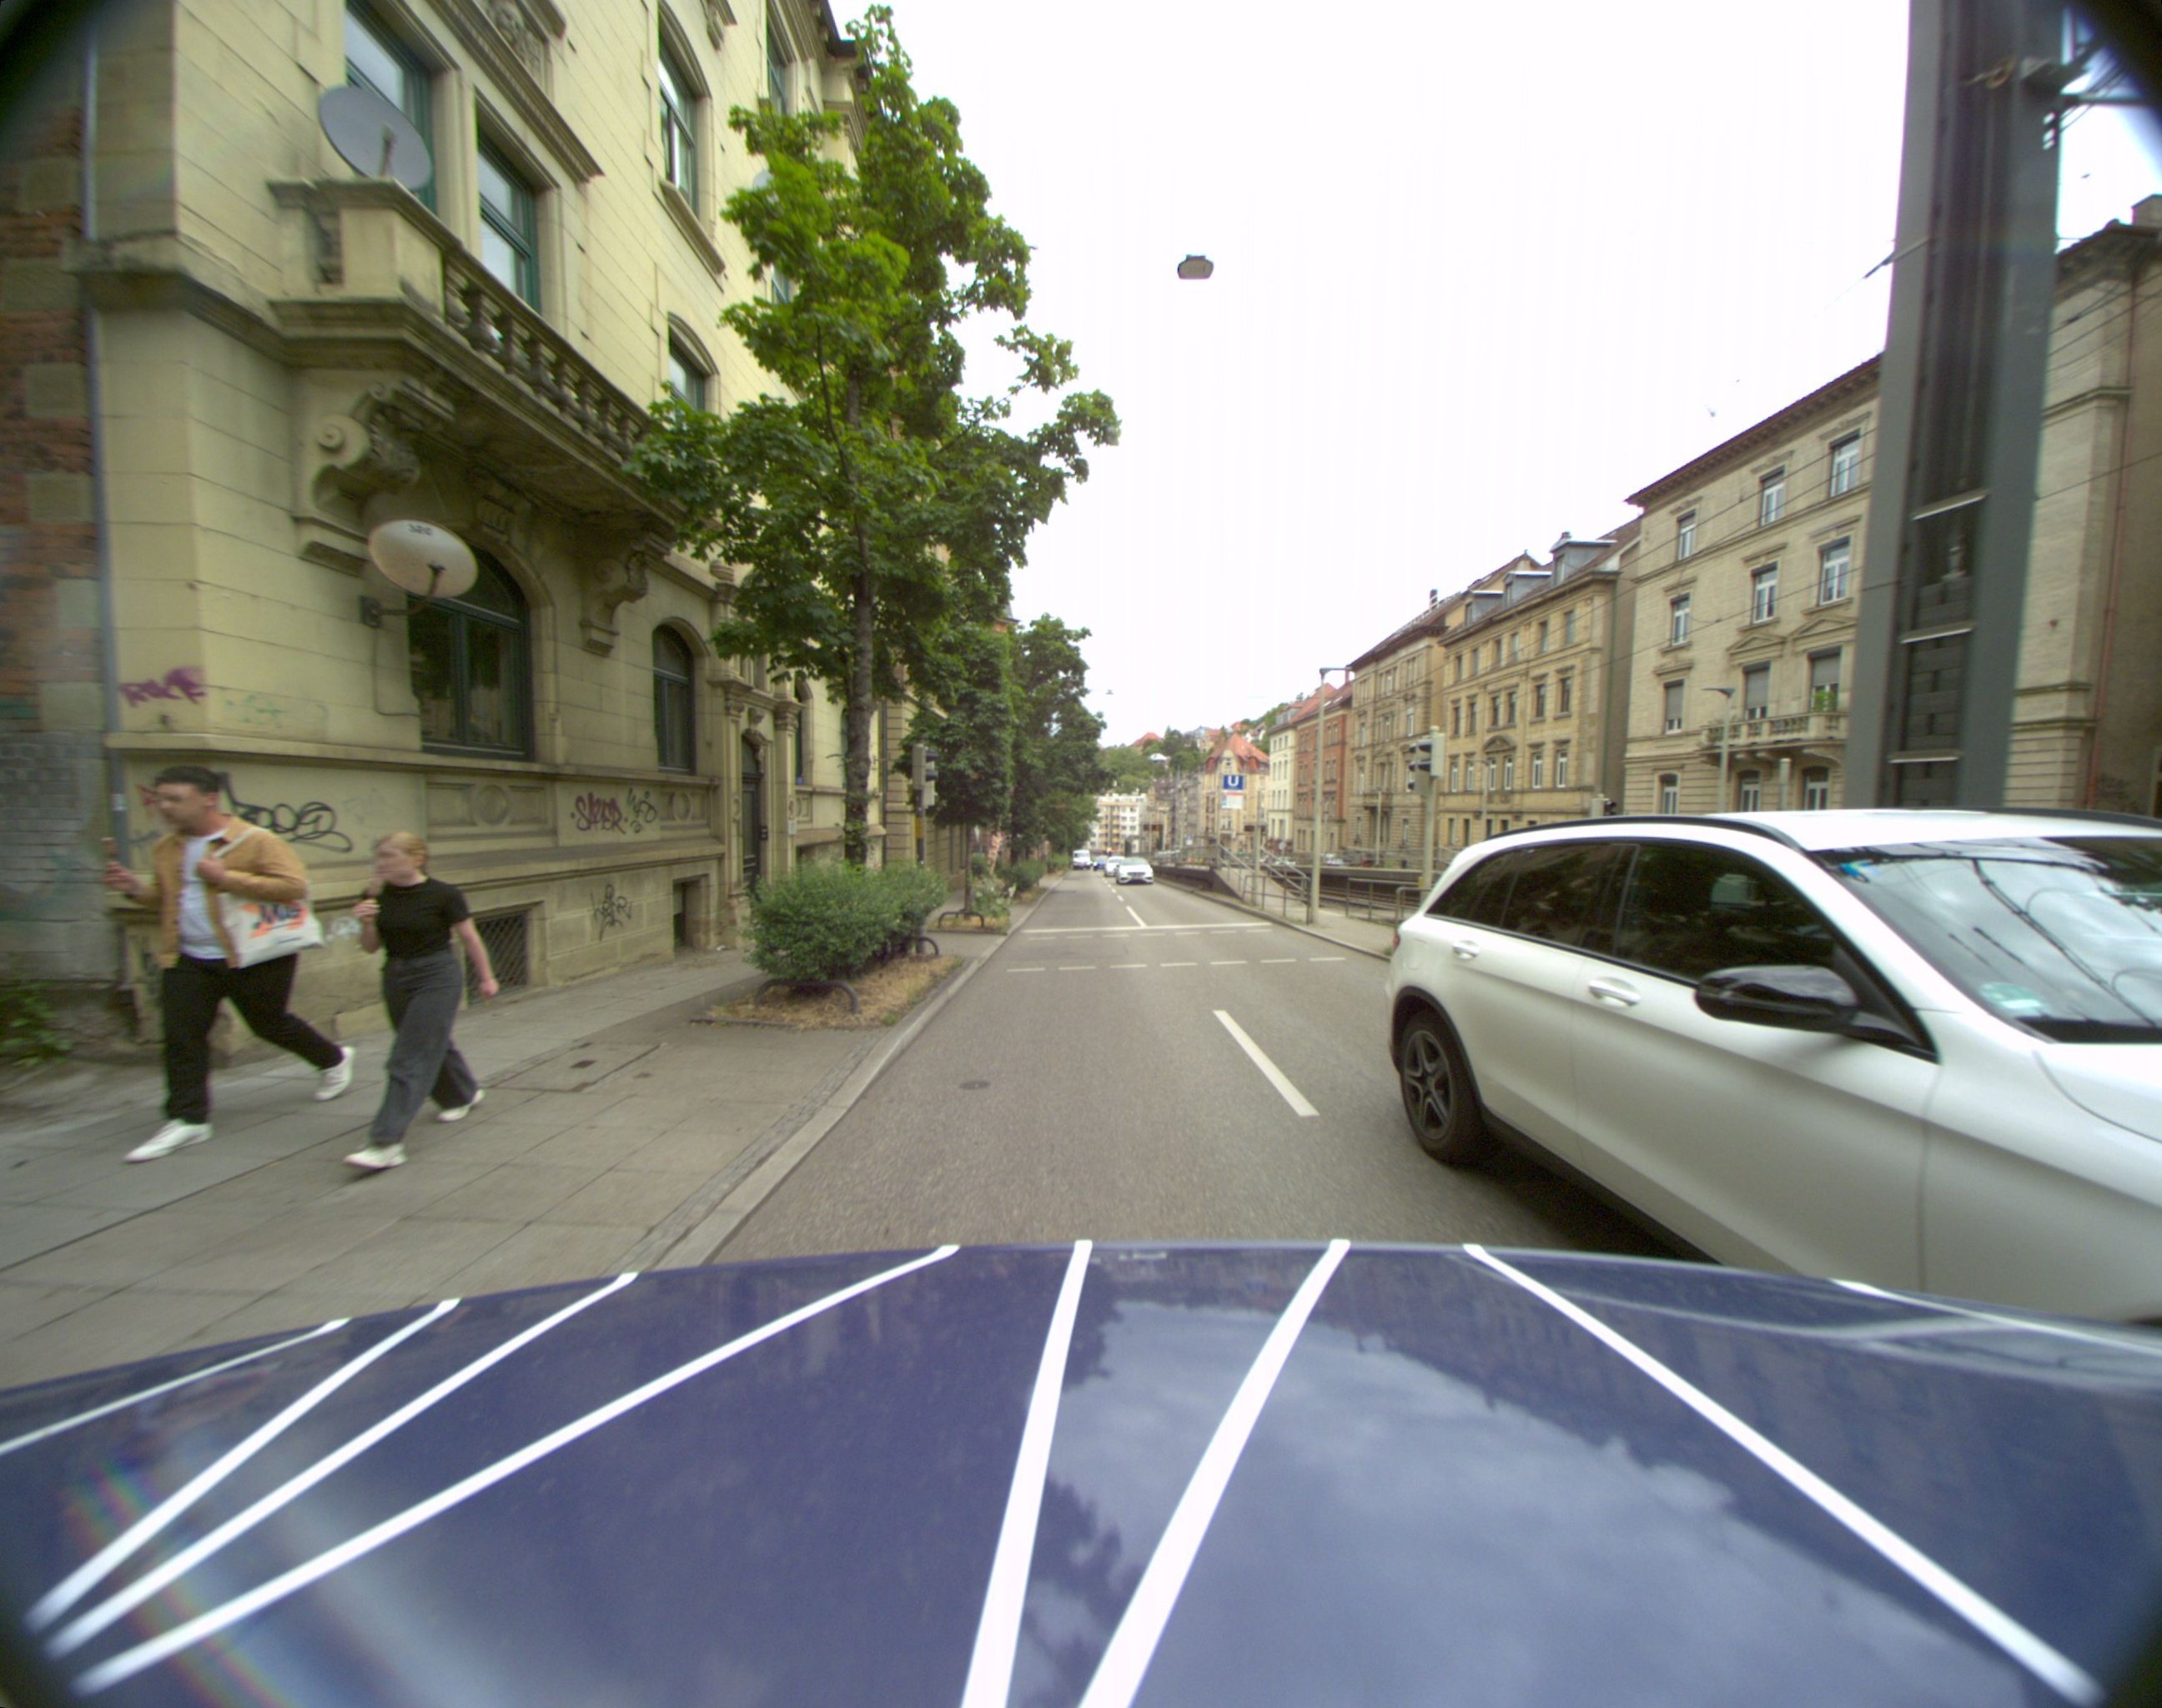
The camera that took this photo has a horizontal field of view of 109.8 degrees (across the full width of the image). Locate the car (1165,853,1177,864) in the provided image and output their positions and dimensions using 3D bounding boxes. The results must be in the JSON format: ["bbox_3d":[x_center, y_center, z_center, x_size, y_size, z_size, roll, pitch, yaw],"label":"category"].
[{"bbox_3d":[18.841,0.909,159.442,1.998,2.291,5.455,0,0,0],"label":"car"}]

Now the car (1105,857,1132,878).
[{"bbox_3d":[2.718,0.985,56.324,1.806,1.542,4.000,-1,0,0],"label":"car"}]

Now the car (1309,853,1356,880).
[{"bbox_3d":[16.713,0.811,50.750,1.713,1.725,4.576,0,0,1],"label":"car"}]

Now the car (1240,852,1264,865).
[{"bbox_3d":[19.798,0.530,87.923,1.883,1.519,4.000,1,0,0],"label":"car"}]

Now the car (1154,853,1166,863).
[{"bbox_3d":[16.213,0.822,156.401,1.999,1.883,4.414,0,0,-1],"label":"car"}]

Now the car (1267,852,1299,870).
[{"bbox_3d":[19.310,0.658,72.705,1.940,1.670,4.000,1,0,0],"label":"car"}]

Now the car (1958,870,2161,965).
[{"bbox_3d":[17.891,1.043,12.491,1.752,1.420,4.750,1,0,6],"label":"car"}]

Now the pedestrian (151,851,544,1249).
[{"bbox_3d":[-3.386,0.802,3.682,0.687,1.566,1.216,2,3,0],"label":"pedestrian"}]

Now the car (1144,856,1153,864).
[{"bbox_3d":[15.922,1.382,179.420,1.827,1.754,3.865,0,0,3],"label":"car"}]

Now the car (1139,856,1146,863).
[{"bbox_3d":[16.027,1.521,198.347,1.827,1.754,3.864,0,0,2],"label":"car"}]

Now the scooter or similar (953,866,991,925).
[{"bbox_3d":[-2.588,0.962,18.188,0.663,1.296,1.383,2,1,0],"label":"scooter or similar"}]

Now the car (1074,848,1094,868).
[{"bbox_3d":[0.399,0.500,90.500,2.263,2.274,5.967,-1,0,0],"label":"car"}]

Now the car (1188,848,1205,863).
[{"bbox_3d":[19.144,0.244,125.761,1.998,2.291,5.455,0,0,0],"label":"car"}]

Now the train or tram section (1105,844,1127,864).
[{"bbox_3d":[6.348,0.055,139.977,2.968,3.456,14.407,1,0,-1],"label":"train or tram section"}]

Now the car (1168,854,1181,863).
[{"bbox_3d":[17.684,0.818,143.626,1.867,1.636,4.414,0,0,-1],"label":"car"}]

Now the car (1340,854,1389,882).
[{"bbox_3d":[19.573,0.954,52.575,1.853,1.849,4.138,0,0,0],"label":"car"}]

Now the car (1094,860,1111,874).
[{"bbox_3d":[2.245,1.368,80.252,1.695,1.466,3.857,0,0,0],"label":"car"}]

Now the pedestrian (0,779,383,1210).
[{"bbox_3d":[-4.337,0.578,3.761,0.687,1.819,1.121,2,3,0],"label":"pedestrian"}]

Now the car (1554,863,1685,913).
[{"bbox_3d":[16.416,0.988,23.387,1.580,1.369,3.656,0,0,3],"label":"car"}]

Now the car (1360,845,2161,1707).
[{"bbox_3d":[2.547,0.825,2.117,1.840,1.657,4.670,-1,1,1],"label":"car"}]

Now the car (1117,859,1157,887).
[{"bbox_3d":[2.970,0.985,40.858,1.806,1.391,4.000,-1,0,0],"label":"car"}]
